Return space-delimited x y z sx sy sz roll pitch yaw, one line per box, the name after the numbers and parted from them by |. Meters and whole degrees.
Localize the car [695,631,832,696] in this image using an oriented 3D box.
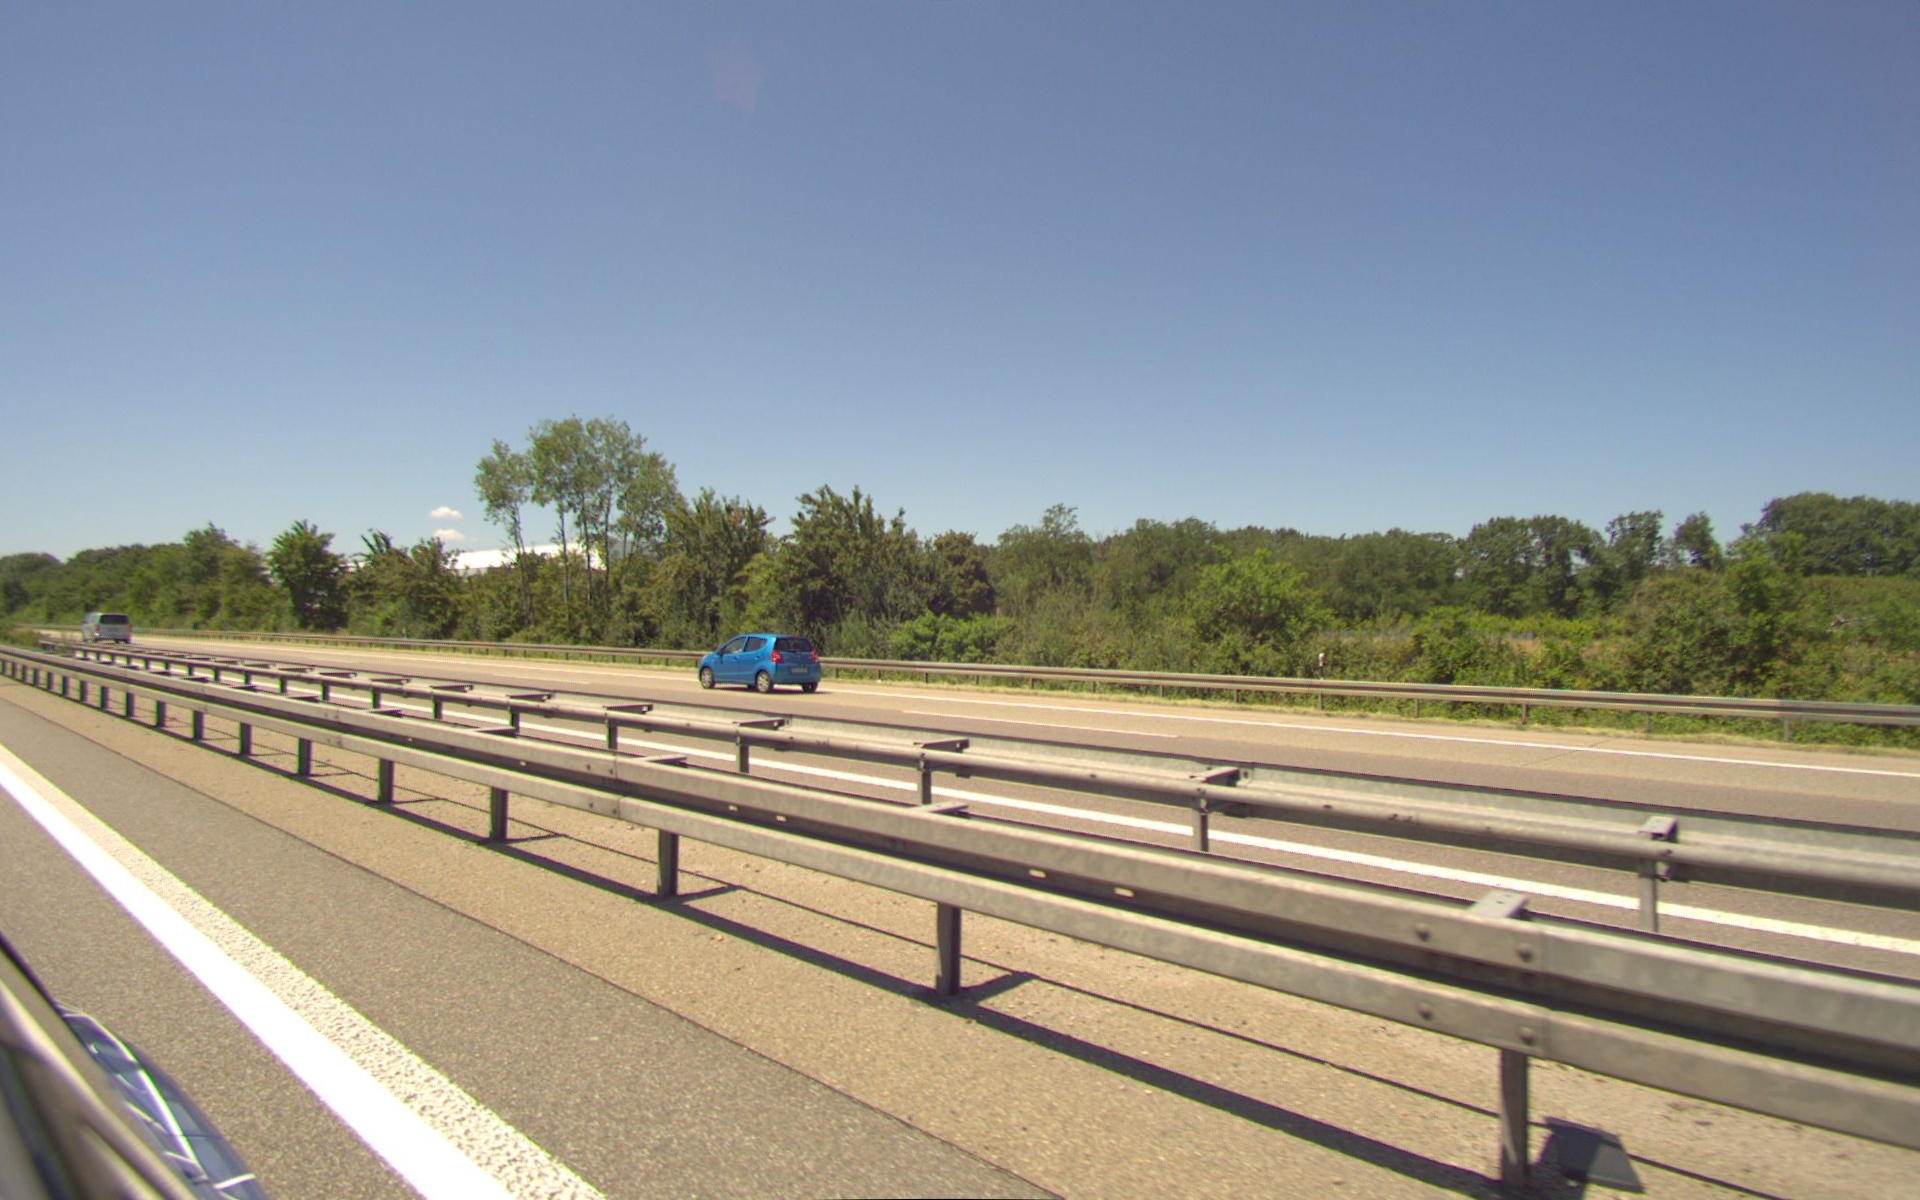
-4.953 1.555 25.313 3.471 1.435 1.547 0 -3 42 | car

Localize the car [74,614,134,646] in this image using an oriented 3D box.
-54.202 1.896 64.034 5.224 1.939 2.020 -1 -4 41 | car
